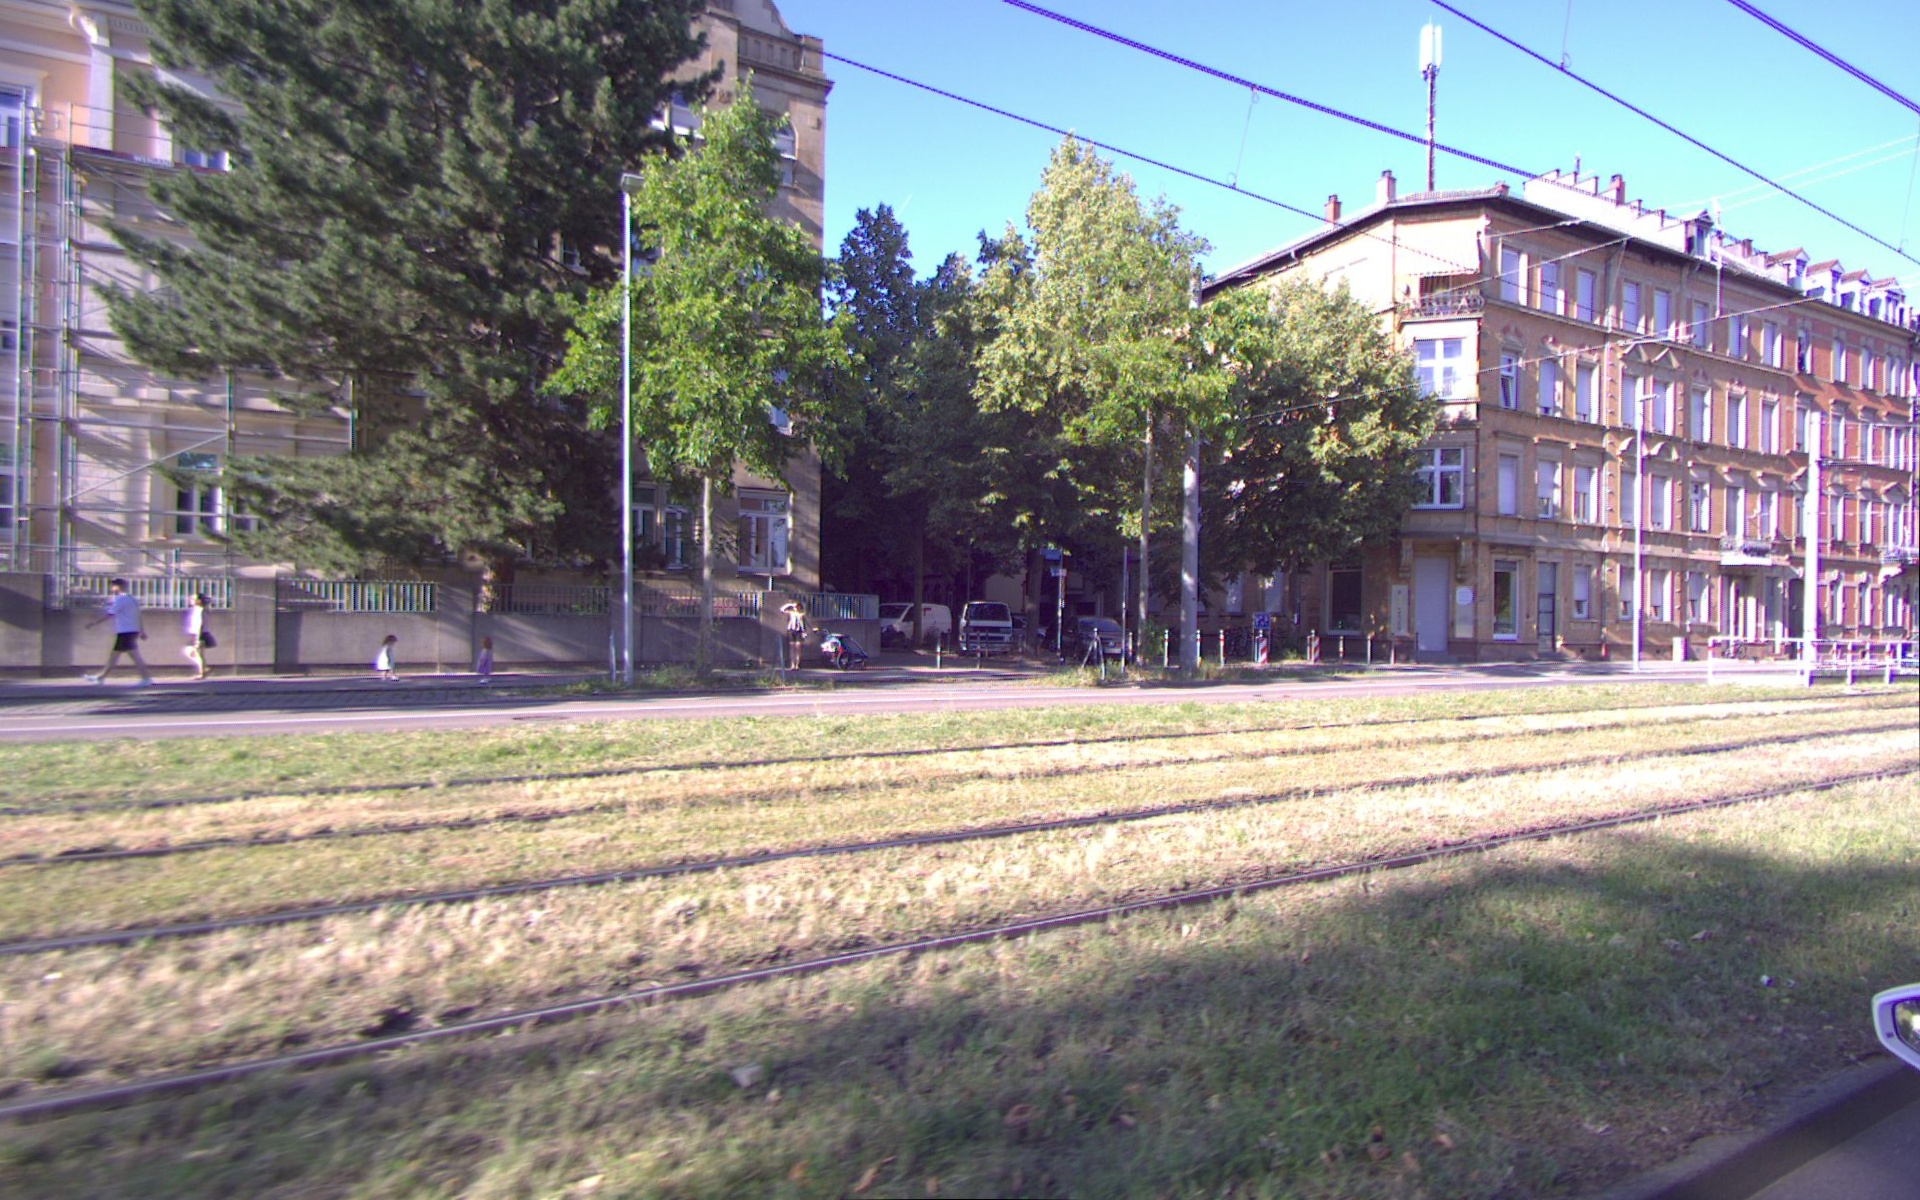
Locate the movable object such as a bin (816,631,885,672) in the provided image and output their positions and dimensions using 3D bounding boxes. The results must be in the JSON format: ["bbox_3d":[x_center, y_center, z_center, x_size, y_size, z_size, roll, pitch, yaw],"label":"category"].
[{"bbox_3d":[-2.606,1.214,23.811,1.222,0.876,1.239,2,1,-29],"label":"movable object such as a bin"}]

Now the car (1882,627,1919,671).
[{"bbox_3d":[42.340,2.108,43.566,4.500,1.777,2.007,1,2,-28],"label":"car"}]

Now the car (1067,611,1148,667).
[{"bbox_3d":[4.433,1.144,30.725,1.960,1.491,4.193,2,0,2],"label":"car"}]

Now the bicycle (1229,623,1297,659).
[{"bbox_3d":[10.794,1.454,35.766,2.203,1.194,0.785,2,1,-16],"label":"bicycle"}]

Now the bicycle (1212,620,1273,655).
[{"bbox_3d":[10.382,1.383,36.938,2.213,1.194,0.782,2,1,-29],"label":"bicycle"}]

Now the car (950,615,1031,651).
[{"bbox_3d":[1.385,1.555,47.515,1.976,1.491,4.159,2,0,-29],"label":"car"}]

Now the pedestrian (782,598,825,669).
[{"bbox_3d":[-3.692,0.778,23.670,0.788,1.614,0.615,1,1,-29],"label":"pedestrian"}]

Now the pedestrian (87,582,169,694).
[{"bbox_3d":[-13.761,0.622,16.636,0.877,1.799,0.647,2,-2,-28],"label":"pedestrian"}]

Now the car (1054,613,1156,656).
[{"bbox_3d":[5.834,1.376,40.779,1.976,1.491,4.159,2,0,-29],"label":"car"}]

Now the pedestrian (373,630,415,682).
[{"bbox_3d":[-10.434,1.032,18.533,0.576,0.944,0.649,1,-2,-22],"label":"pedestrian"}]

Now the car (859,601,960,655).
[{"bbox_3d":[-1.923,1.054,40.169,2.027,1.943,5.008,2,1,22],"label":"car"}]

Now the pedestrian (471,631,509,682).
[{"bbox_3d":[-8.903,1.066,19.039,0.576,0.944,0.649,1,-2,-22],"label":"pedestrian"}]

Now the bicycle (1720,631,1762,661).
[{"bbox_3d":[33.321,1.965,42.870,1.728,1.196,0.696,2,1,-27],"label":"bicycle"}]

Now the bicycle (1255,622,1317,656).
[{"bbox_3d":[12.004,1.445,36.939,2.211,1.194,0.782,2,1,-26],"label":"bicycle"}]

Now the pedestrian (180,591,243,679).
[{"bbox_3d":[-13.574,0.639,18.235,0.773,1.560,0.647,2,-2,-28],"label":"pedestrian"}]

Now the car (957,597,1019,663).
[{"bbox_3d":[1.017,0.976,35.132,1.960,2.040,4.615,2,1,2],"label":"car"}]
